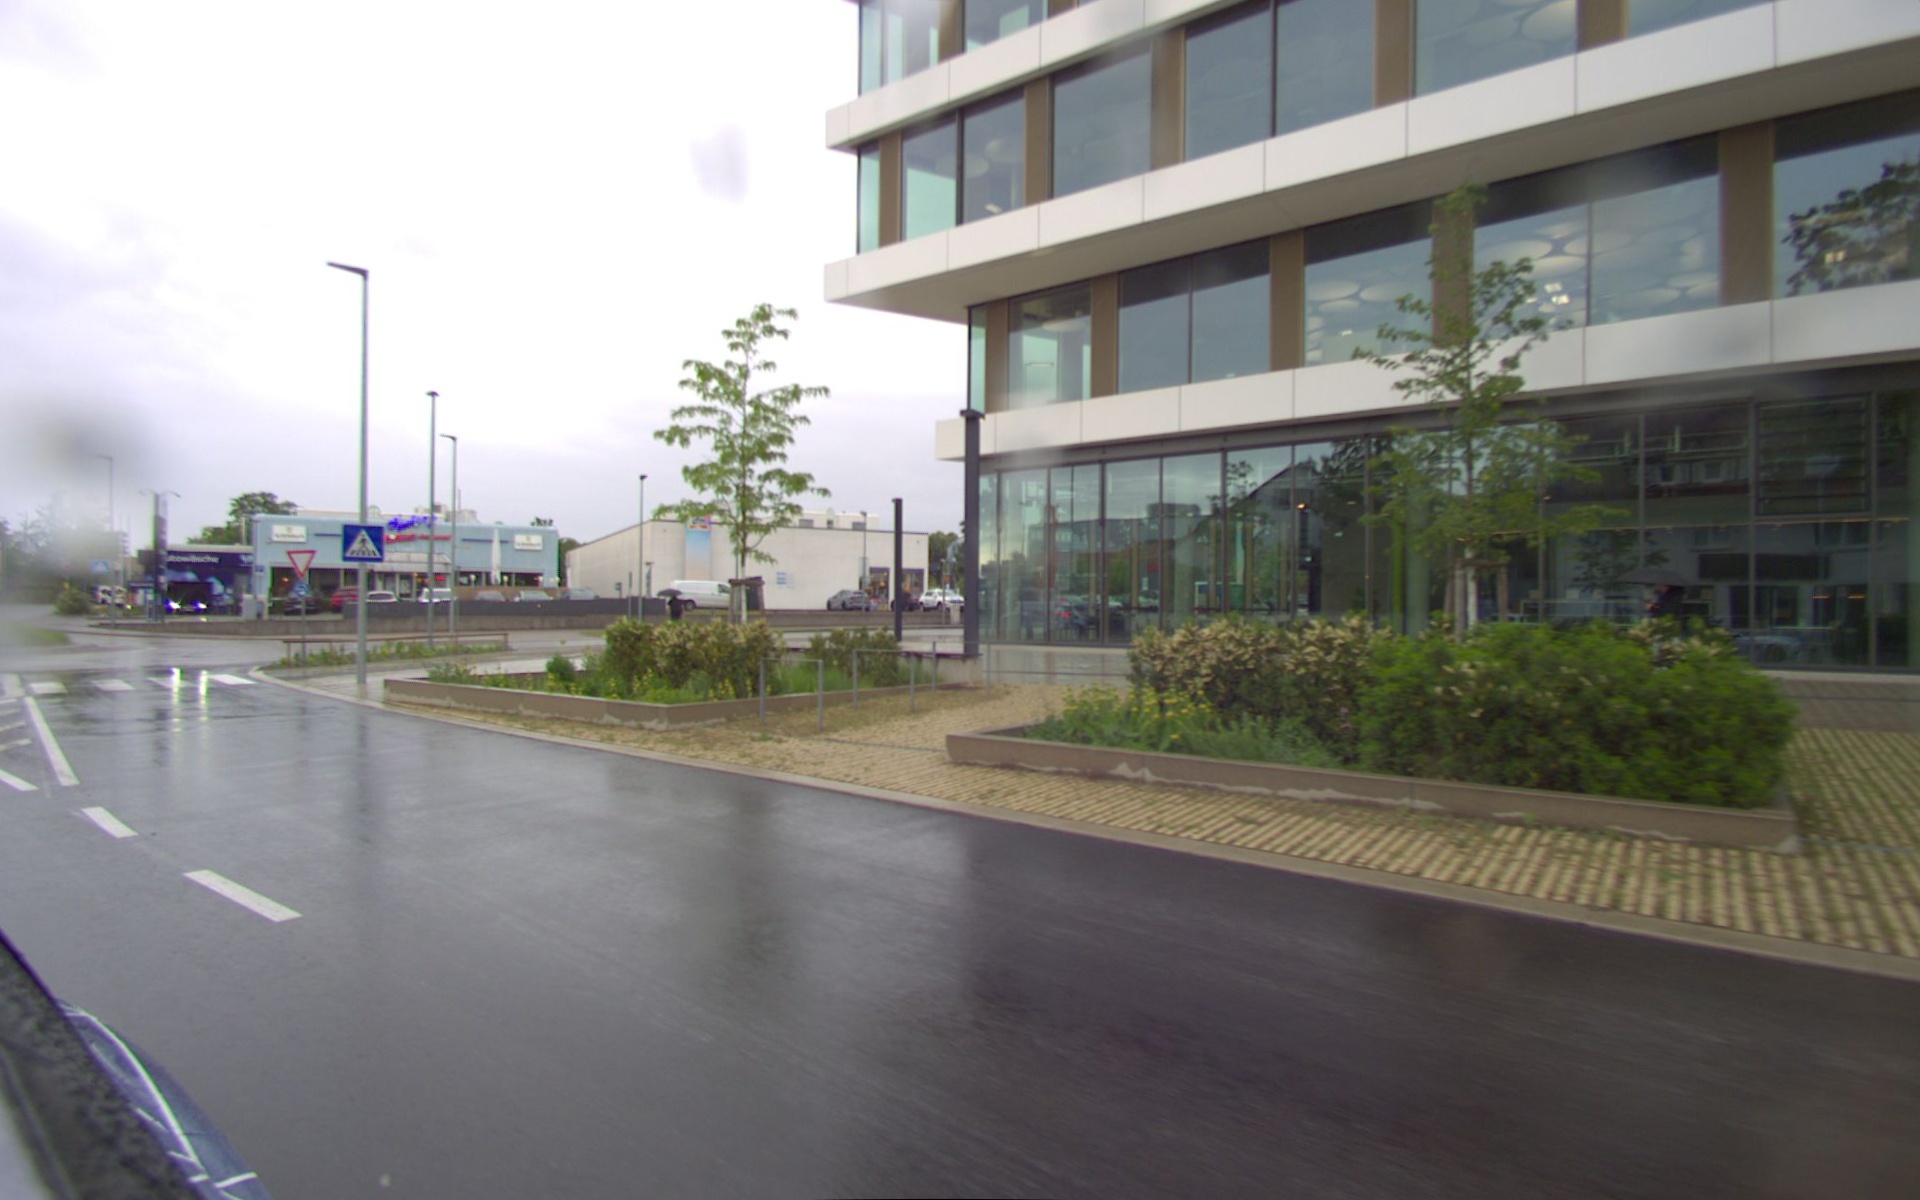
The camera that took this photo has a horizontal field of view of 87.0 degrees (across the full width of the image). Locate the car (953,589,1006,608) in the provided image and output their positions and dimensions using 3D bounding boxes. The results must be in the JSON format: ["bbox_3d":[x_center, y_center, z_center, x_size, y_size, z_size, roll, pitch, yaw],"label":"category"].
[{"bbox_3d":[1.599,-0.136,82.421,3.932,1.564,1.799,0,0,-33],"label":"car"}]

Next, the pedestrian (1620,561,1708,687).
[{"bbox_3d":[10.090,0.308,14.512,0.956,1.716,0.717,1,4,42],"label":"pedestrian"}]

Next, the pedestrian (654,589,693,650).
[{"bbox_3d":[-9.637,0.656,34.059,0.929,2.029,0.883,-1,0,34],"label":"pedestrian"}]

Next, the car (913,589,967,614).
[{"bbox_3d":[-1.341,0.103,66.399,1.820,1.564,4.012,0,0,-31],"label":"car"}]

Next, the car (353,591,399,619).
[{"bbox_3d":[-30.489,0.246,52.904,1.855,1.305,4.013,-3,1,-28],"label":"car"}]

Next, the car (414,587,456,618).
[{"bbox_3d":[-28.434,0.138,54.712,1.764,1.564,4.012,0,0,-31],"label":"car"}]

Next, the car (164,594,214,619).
[{"bbox_3d":[-51.851,0.430,68.140,1.888,1.541,4.013,-2,0,-25],"label":"car"}]

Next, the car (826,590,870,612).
[{"bbox_3d":[-8.353,0.066,75.251,1.764,1.564,4.012,0,0,-30],"label":"car"}]

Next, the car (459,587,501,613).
[{"bbox_3d":[-26.377,0.004,55.567,1.855,1.305,4.013,-3,1,-28],"label":"car"}]

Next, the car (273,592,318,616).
[{"bbox_3d":[-40.576,0.239,61.902,1.855,1.305,4.013,-3,1,-28],"label":"car"}]

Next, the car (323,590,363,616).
[{"bbox_3d":[-38.639,0.164,63.436,1.855,1.497,4.013,-3,1,-28],"label":"car"}]

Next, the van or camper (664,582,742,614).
[{"bbox_3d":[-16.013,-0.147,63.113,4.307,1.774,1.894,-3,1,-27],"label":"van or camper"}]

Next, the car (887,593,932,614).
[{"bbox_3d":[-3.912,0.248,77.779,1.764,1.564,4.012,0,0,-30],"label":"car"}]

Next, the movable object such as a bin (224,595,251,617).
[{"bbox_3d":[-46.153,0.385,64.675,1.194,1.305,1.483,-3,1,-28],"label":"movable object such as a bin"}]

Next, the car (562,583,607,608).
[{"bbox_3d":[-21.541,-0.243,57.983,1.855,1.305,4.013,-3,1,-28],"label":"car"}]

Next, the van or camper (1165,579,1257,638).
[{"bbox_3d":[14.231,0.458,57.218,5.015,3.111,2.006,-2,0,-31],"label":"van or camper"}]

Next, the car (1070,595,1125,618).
[{"bbox_3d":[9.891,0.458,73.000,1.764,1.564,4.012,0,0,-31],"label":"car"}]

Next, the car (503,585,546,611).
[{"bbox_3d":[-24.378,-0.093,56.594,1.855,1.305,4.013,-3,1,-28],"label":"car"}]

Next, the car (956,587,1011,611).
[{"bbox_3d":[1.551,-0.047,67.733,1.764,1.564,4.012,0,0,-31],"label":"car"}]
